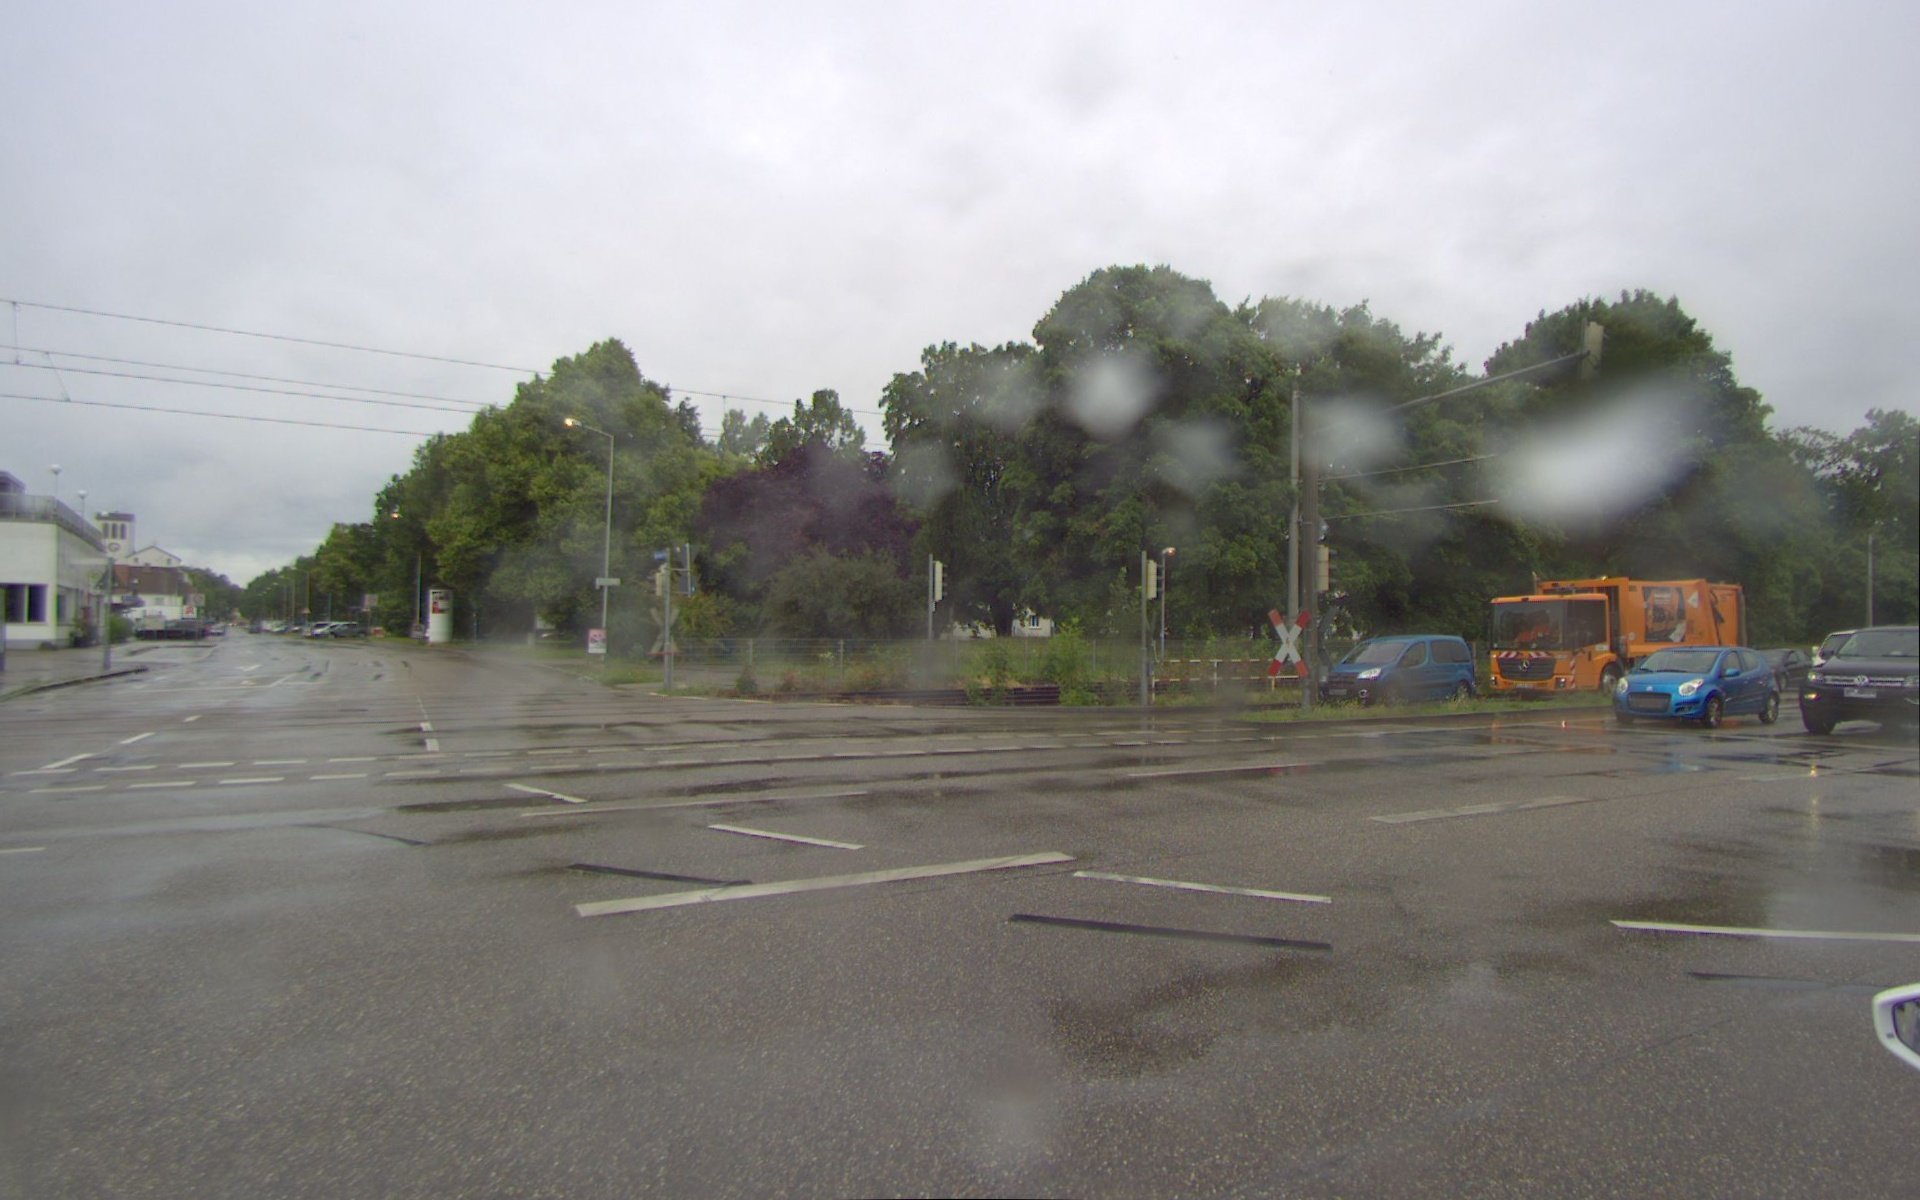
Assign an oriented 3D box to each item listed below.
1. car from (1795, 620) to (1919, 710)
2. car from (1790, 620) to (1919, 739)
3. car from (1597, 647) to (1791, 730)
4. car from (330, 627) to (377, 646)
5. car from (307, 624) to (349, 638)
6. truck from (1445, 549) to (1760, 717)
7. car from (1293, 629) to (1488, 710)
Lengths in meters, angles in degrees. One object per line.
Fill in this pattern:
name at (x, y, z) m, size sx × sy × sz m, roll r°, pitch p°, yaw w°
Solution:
car at (22.832, 1.545, 24.795) m, size 4.686 × 2.045 × 1.920 m, roll 1°, pitch -2°, yaw -30°
car at (16.351, 1.282, 17.091) m, size 5.030 × 1.796 × 1.797 m, roll 1°, pitch -3°, yaw -31°
car at (14.034, 1.635, 19.161) m, size 3.956 × 1.446 × 1.632 m, roll 2°, pitch -4°, yaw -32°
car at (-61.680, 3.708, 102.119) m, size 3.962 × 1.726 × 1.856 m, roll 2°, pitch 0°, yaw -36°
car at (-72.537, 3.548, 115.339) m, size 3.957 × 1.517 × 1.685 m, roll 2°, pitch 0°, yaw -33°
truck at (18.918, 0.973, 29.291) m, size 10.284 × 4.223 × 3.369 m, roll 2°, pitch 0°, yaw -30°
car at (10.419, 1.639, 24.262) m, size 4.472 × 1.732 × 1.985 m, roll 2°, pitch 0°, yaw -29°
